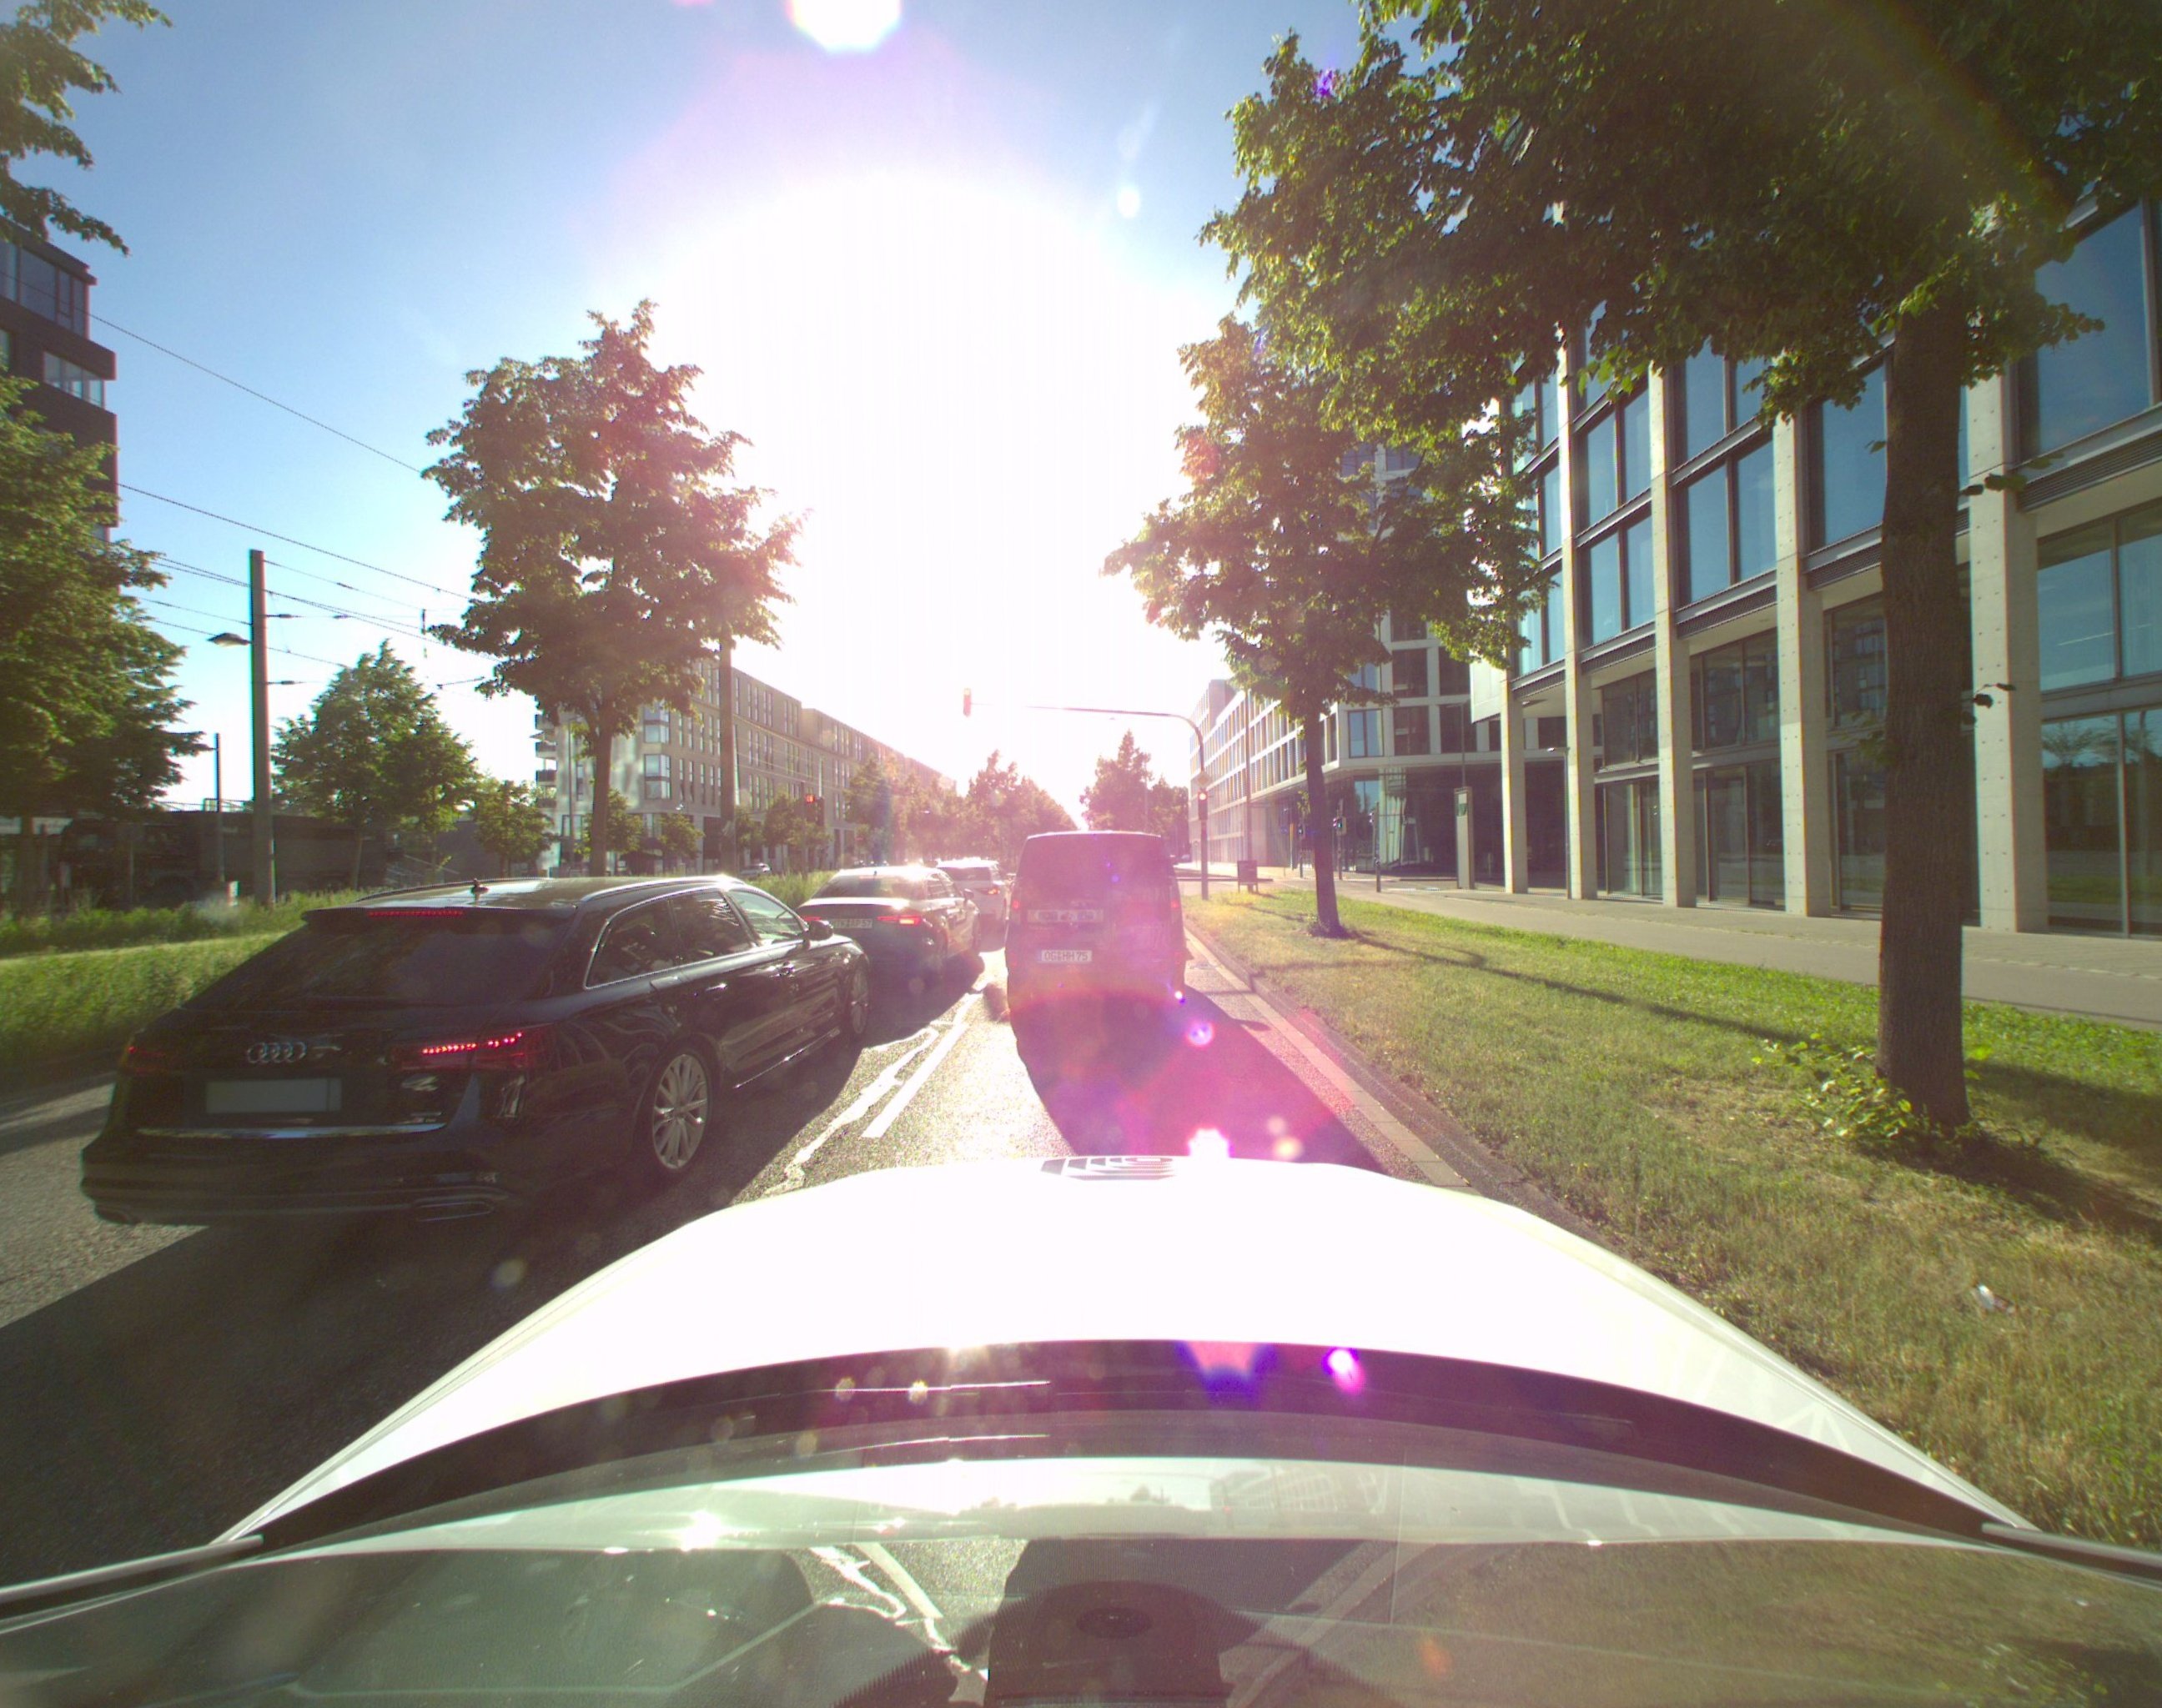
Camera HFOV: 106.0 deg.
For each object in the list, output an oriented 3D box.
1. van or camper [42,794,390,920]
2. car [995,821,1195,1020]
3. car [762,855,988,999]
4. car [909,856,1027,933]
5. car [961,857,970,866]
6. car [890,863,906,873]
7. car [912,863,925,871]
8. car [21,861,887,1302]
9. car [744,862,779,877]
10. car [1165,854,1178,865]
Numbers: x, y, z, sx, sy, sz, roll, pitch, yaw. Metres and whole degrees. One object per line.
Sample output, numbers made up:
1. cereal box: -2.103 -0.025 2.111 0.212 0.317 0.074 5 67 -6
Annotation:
1. van or camper: -33.548 0.131 32.601 2.743 4.192 10.234 -1 0 2
2. car: 0.220 0.611 9.548 1.801 1.794 4.115 -1 0 2
3. car: -2.500 0.805 10.988 1.801 1.527 4.115 -1 0 2
4. car: -2.308 0.784 17.696 1.801 1.434 4.115 -1 0 2
5. car: -28.354 1.867 199.548 1.723 2.013 3.999 -1 0 -1
6. car: -30.583 2.325 136.077 1.769 1.528 3.807 -1 0 1
7. car: -29.875 2.371 150.157 1.574 1.342 3.713 -1 0 1
8. car: -2.726 0.811 5.088 1.801 1.457 4.509 -1 0 2
9. car: -31.483 1.541 80.376 1.574 1.342 4.473 -1 0 1
10. car: 14.205 0.808 127.745 1.750 1.611 3.906 -1 0 3
